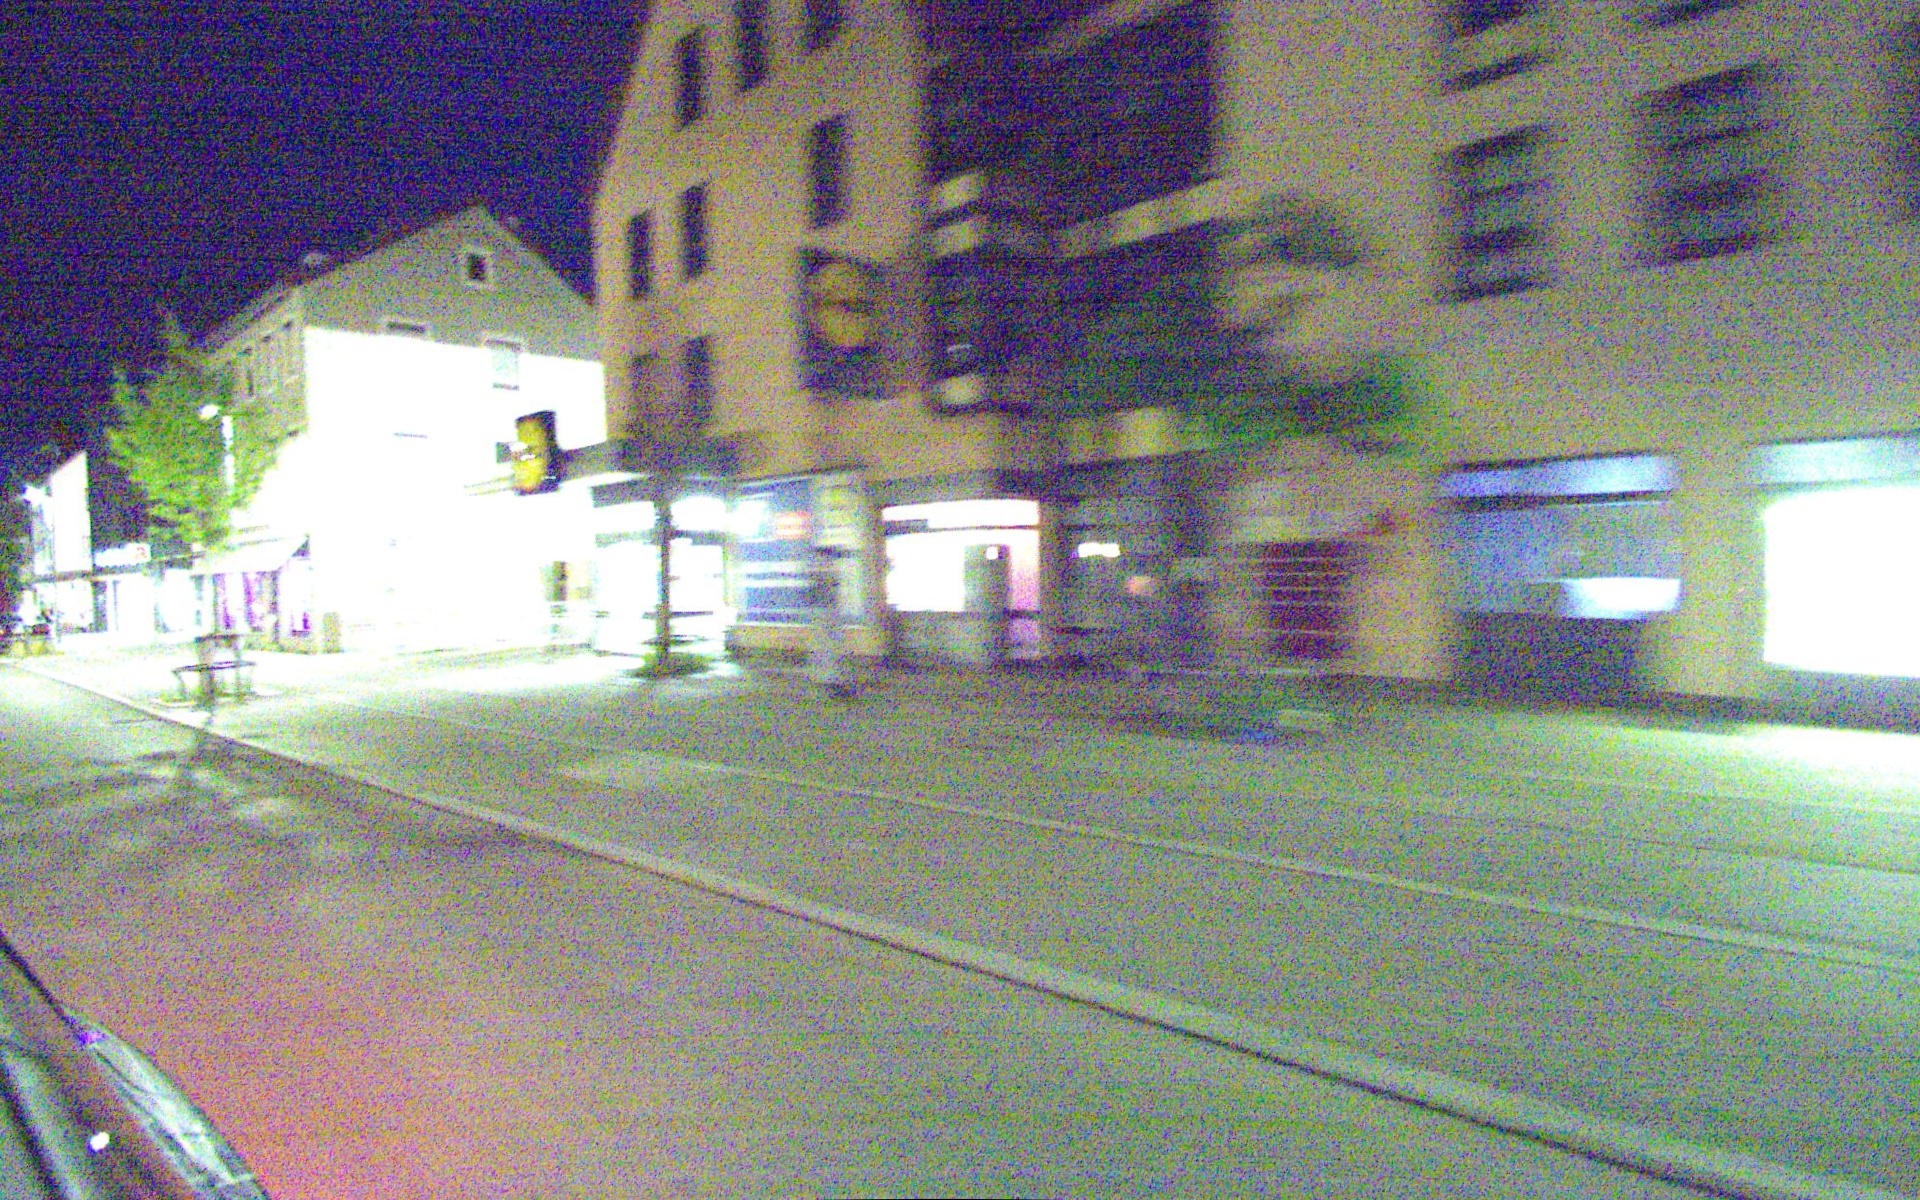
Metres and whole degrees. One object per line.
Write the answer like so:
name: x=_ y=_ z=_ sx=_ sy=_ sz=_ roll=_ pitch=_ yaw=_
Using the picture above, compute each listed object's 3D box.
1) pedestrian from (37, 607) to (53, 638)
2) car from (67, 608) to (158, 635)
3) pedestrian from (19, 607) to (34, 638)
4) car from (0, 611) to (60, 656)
pedestrian: x=-48.235 y=1.176 z=53.335 sx=0.665 sy=1.600 sz=0.522 roll=-1 pitch=1 yaw=41
car: x=-48.112 y=1.192 z=57.503 sx=1.652 sy=1.427 sz=3.784 roll=-1 pitch=0 yaw=41
pedestrian: x=-48.819 y=1.177 z=52.929 sx=0.666 sy=1.600 sz=0.522 roll=-1 pitch=1 yaw=44
car: x=-33.778 y=1.181 z=36.001 sx=4.926 sy=1.430 sz=1.878 roll=-1 pitch=2 yaw=40
